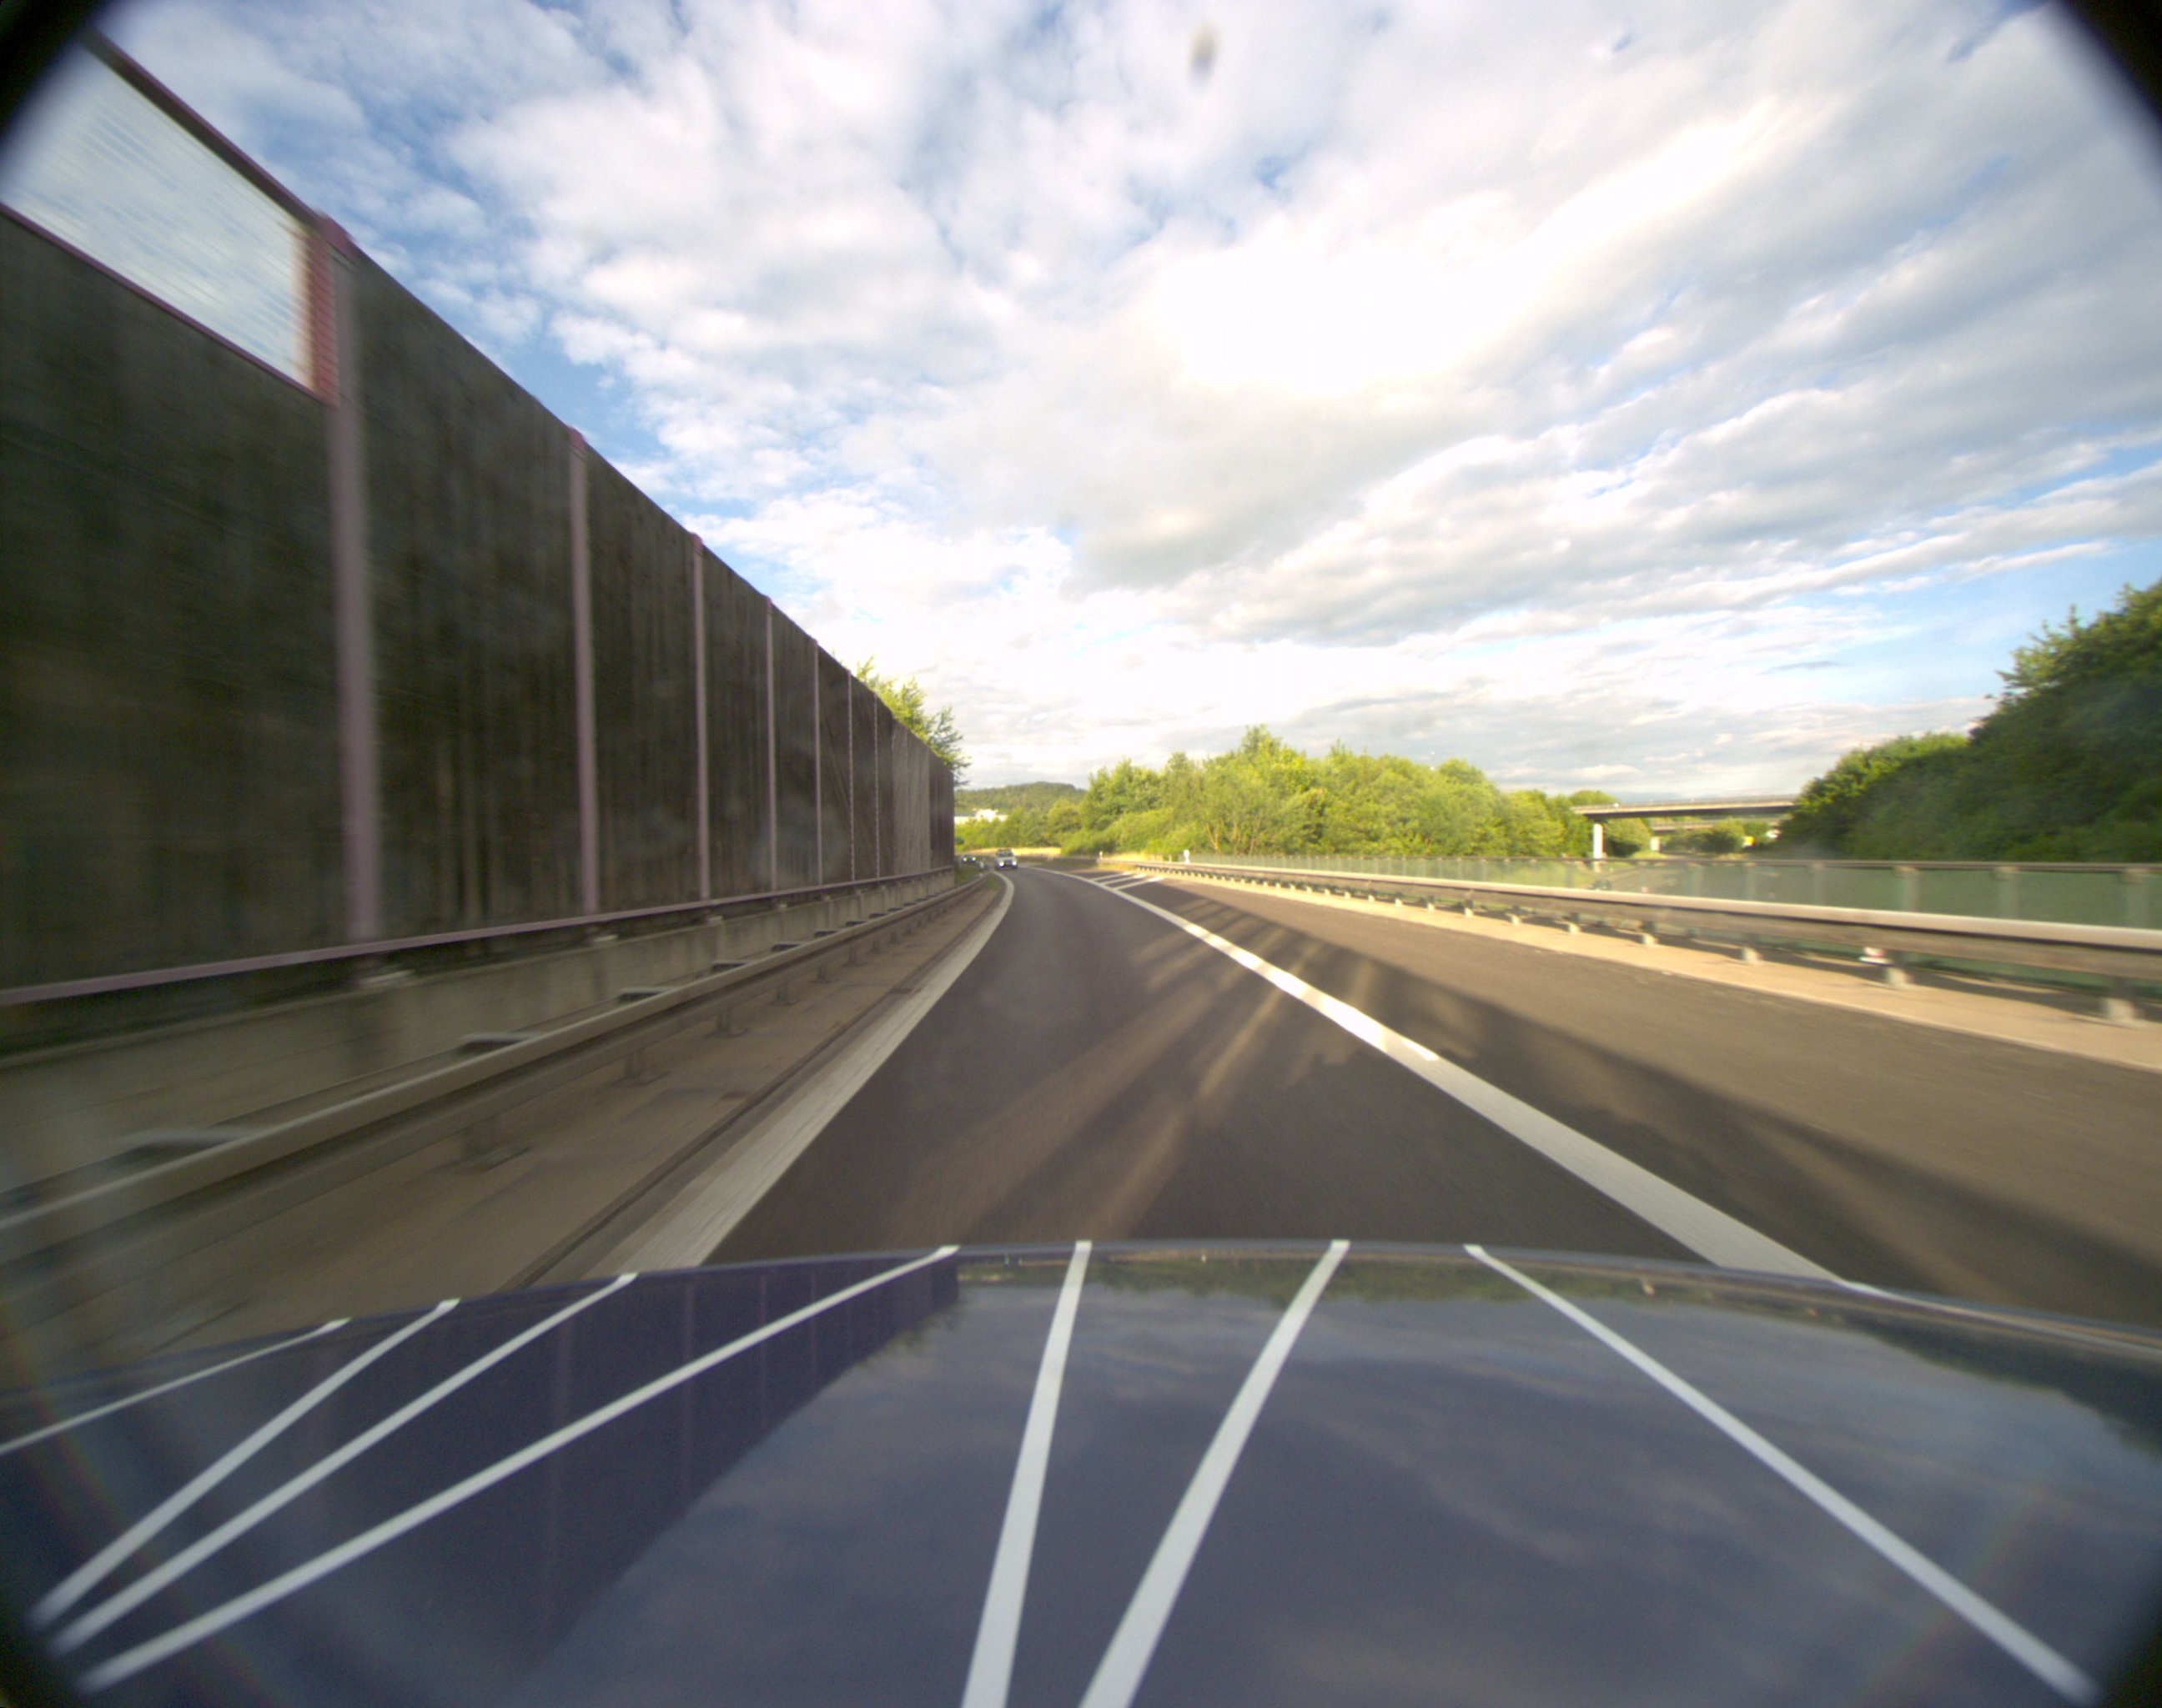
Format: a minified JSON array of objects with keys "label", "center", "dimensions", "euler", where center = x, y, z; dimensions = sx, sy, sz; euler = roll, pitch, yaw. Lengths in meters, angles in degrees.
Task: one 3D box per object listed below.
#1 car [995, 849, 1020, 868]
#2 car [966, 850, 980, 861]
[{"label":"car","center":[-7.033,0.436,72.808],"dimensions":[1.906,1.655,3.996],"euler":[-3,1,-11]},{"label":"car","center":[-16.255,0.166,114.363],"dimensions":[1.621,1.452,3.658],"euler":[-3,2,-13]}]
